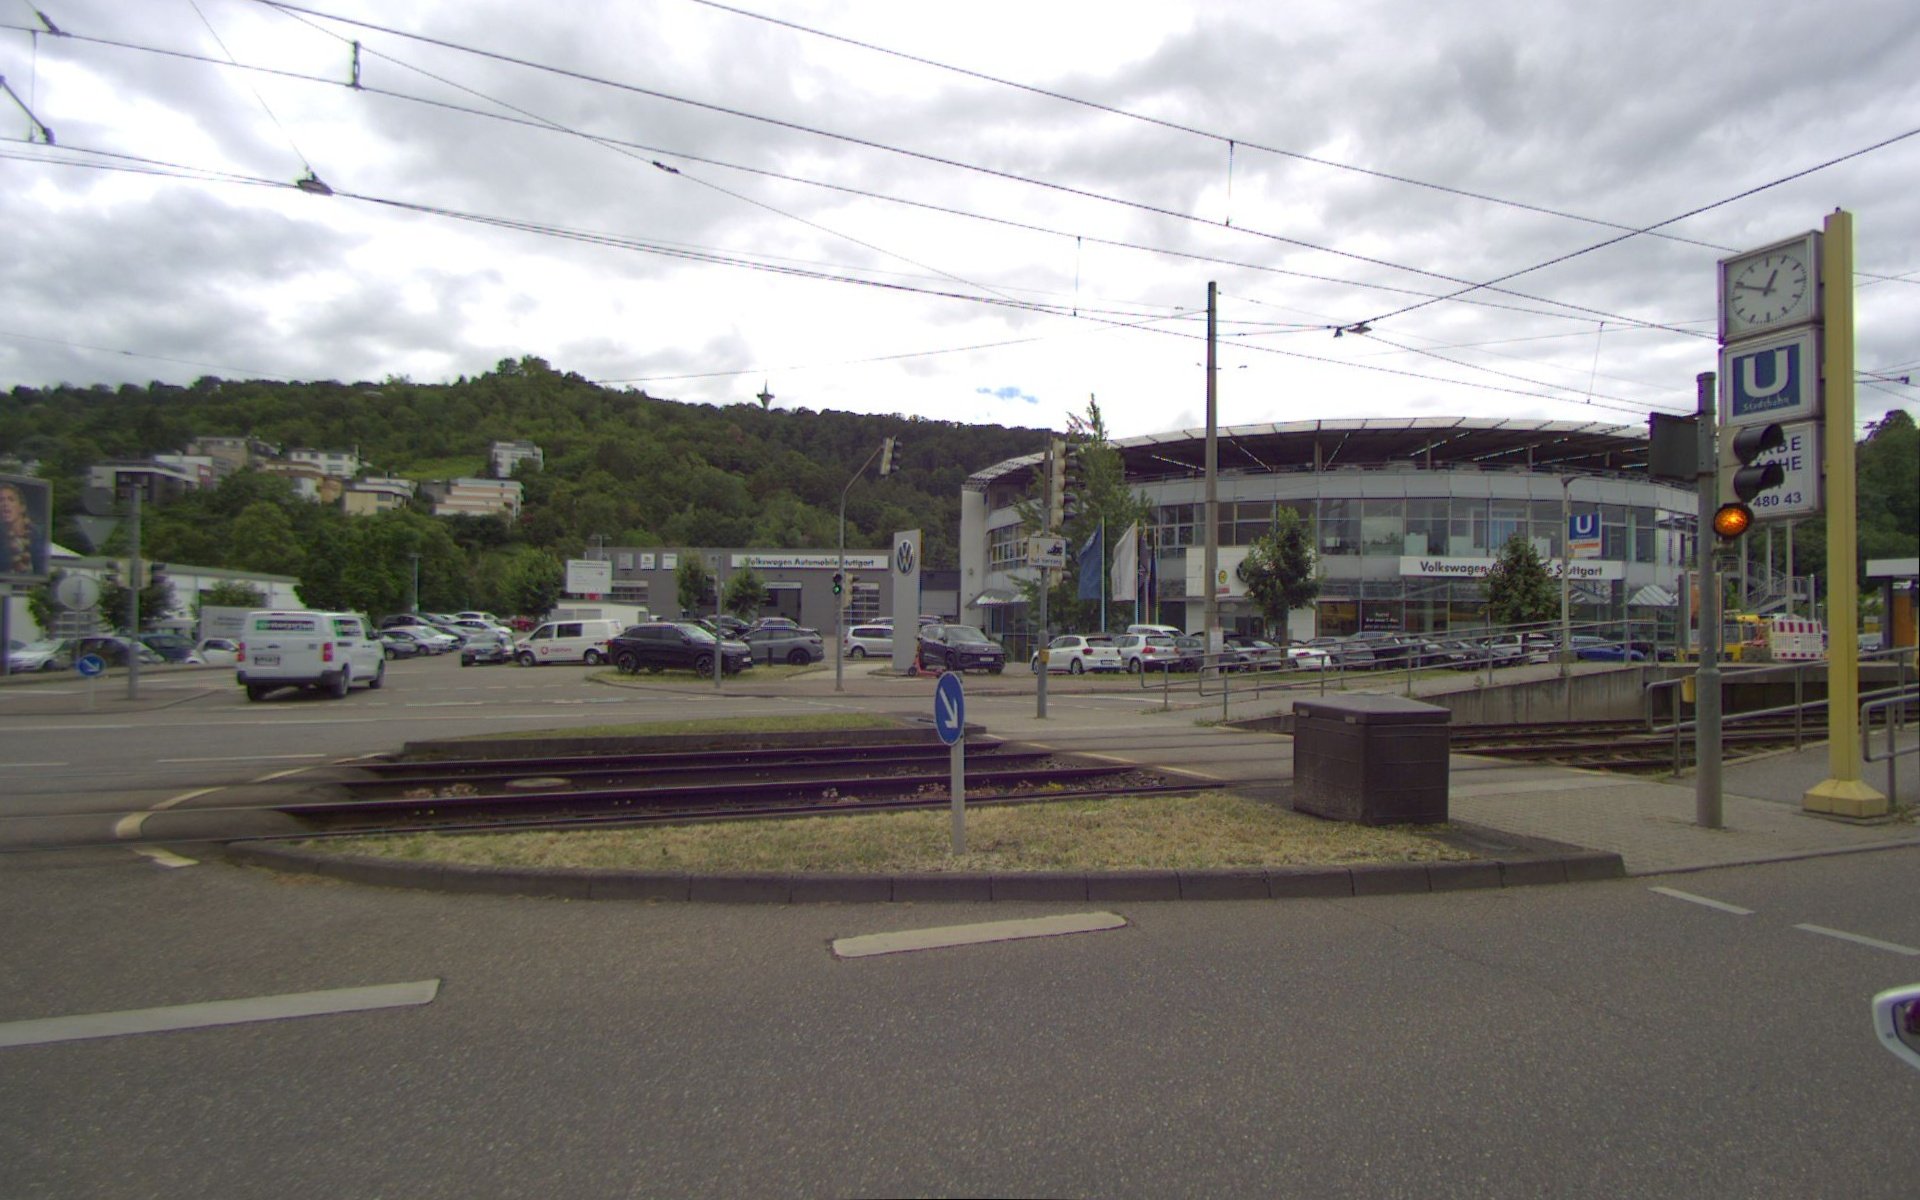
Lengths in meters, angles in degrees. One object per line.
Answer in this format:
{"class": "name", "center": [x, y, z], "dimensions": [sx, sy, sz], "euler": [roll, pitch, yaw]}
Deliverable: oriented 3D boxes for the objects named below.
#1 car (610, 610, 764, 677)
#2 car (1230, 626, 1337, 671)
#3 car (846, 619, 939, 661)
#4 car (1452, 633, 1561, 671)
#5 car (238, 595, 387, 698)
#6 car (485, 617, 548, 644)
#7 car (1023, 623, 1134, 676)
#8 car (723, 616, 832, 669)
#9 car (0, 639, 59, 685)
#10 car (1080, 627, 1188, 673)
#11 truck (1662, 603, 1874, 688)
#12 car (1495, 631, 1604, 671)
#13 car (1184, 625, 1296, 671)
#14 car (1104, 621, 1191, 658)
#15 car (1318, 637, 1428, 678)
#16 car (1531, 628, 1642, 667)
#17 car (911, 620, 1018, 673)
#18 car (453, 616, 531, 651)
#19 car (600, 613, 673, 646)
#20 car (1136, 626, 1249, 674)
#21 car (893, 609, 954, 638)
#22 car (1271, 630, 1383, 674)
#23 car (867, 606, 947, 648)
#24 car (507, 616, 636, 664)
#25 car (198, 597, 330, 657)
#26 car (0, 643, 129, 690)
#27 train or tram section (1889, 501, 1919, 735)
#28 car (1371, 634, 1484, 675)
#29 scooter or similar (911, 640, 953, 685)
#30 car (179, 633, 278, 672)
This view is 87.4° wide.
{"class": "car", "center": [-8.147, 1.248, 30.147], "dimensions": [3.919, 1.662, 2.001], "euler": [3, 1, 12]}
{"class": "car", "center": [12.835, 1.914, 40.046], "dimensions": [1.708, 1.574, 3.971], "euler": [6, -4, -28]}
{"class": "car", "center": [-3.325, 2.036, 50.254], "dimensions": [4.423, 1.751, 2.001], "euler": [4, -3, -1]}
{"class": "car", "center": [24.175, 2.265, 44.574], "dimensions": [1.898, 1.574, 3.983], "euler": [1, -2, -20]}
{"class": "car", "center": [-15.128, 1.001, 23.782], "dimensions": [1.977, 2.067, 4.805], "euler": [4, -1, -22]}
{"class": "car", "center": [-38.304, 2.671, 86.921], "dimensions": [4.428, 2.022, 1.998], "euler": [5, -3, -8]}
{"class": "car", "center": [4.164, 1.734, 35.956], "dimensions": [1.976, 1.661, 3.971], "euler": [6, -4, -28]}
{"class": "car", "center": [-7.049, 1.678, 39.002], "dimensions": [3.930, 1.727, 1.997], "euler": [5, -3, -10]}
{"class": "car", "center": [-42.510, 2.702, 44.080], "dimensions": [1.962, 1.862, 4.509], "euler": [4, -3, -5]}
{"class": "car", "center": [6.305, 1.804, 36.773], "dimensions": [1.793, 1.495, 3.971], "euler": [6, -4, -28]}
{"class": "truck", "center": [32.105, 1.845, 39.838], "dimensions": [8.878, 3.118, 2.689], "euler": [2, -2, -23]}
{"class": "car", "center": [26.695, 2.293, 45.644], "dimensions": [1.899, 1.574, 3.983], "euler": [5, -4, -20]}
{"class": "car", "center": [10.748, 1.828, 38.783], "dimensions": [1.904, 1.574, 3.971], "euler": [6, -4, -28]}
{"class": "car", "center": [9.236, 1.936, 49.728], "dimensions": [1.910, 1.574, 3.958], "euler": [6, -4, -36]}
{"class": "car", "center": [17.127, 2.339, 41.805], "dimensions": [1.903, 1.574, 3.971], "euler": [1, -2, -28]}
{"class": "car", "center": [28.679, 2.176, 46.120], "dimensions": [1.899, 1.574, 3.983], "euler": [5, -4, -20]}
{"class": "car", "center": [0.074, 1.542, 34.152], "dimensions": [1.975, 1.661, 3.971], "euler": [3, -2, -28]}
{"class": "car", "center": [-32.514, 2.343, 69.895], "dimensions": [4.436, 2.022, 1.995], "euler": [5, -3, -14]}
{"class": "car", "center": [-20.648, 1.898, 64.289], "dimensions": [3.921, 1.817, 1.854], "euler": [4, -3, 1]}
{"class": "car", "center": [8.598, 1.840, 37.486], "dimensions": [1.904, 1.574, 3.971], "euler": [6, -4, -28]}
{"class": "car", "center": [-2.707, 1.781, 74.796], "dimensions": [4.423, 1.751, 2.000], "euler": [4, -3, -2]}
{"class": "car", "center": [14.865, 2.086, 40.870], "dimensions": [1.904, 1.574, 3.971], "euler": [6, -4, -28]}
{"class": "car", "center": [-3.032, 1.559, 57.857], "dimensions": [4.423, 2.022, 2.000], "euler": [4, -3, -2]}
{"class": "car", "center": [-17.142, 1.790, 44.487], "dimensions": [4.917, 2.039, 2.002], "euler": [0, -4, 3]}
{"class": "car", "center": [-30.486, 1.212, 44.198], "dimensions": [4.461, 2.271, 1.984], "euler": [6, -4, -31]}
{"class": "car", "center": [-39.758, 2.936, 44.687], "dimensions": [1.963, 1.862, 4.508], "euler": [4, -3, -6]}
{"class": "train or tram section", "center": [22.258, 0.355, 18.900], "dimensions": [11.748, 4.019, 2.733], "euler": [1, -2, -25]}
{"class": "car", "center": [19.564, 2.241, 42.209], "dimensions": [1.903, 1.574, 3.971], "euler": [0, -1, -28]}
{"class": "scooter or similar", "center": [-0.884, 1.959, 31.282], "dimensions": [1.182, 1.304, 0.575], "euler": [4, -3, -6]}
{"class": "car", "center": [-29.807, 2.138, 40.996], "dimensions": [2.767, 1.355, 1.531], "euler": [5, -3, -16]}
